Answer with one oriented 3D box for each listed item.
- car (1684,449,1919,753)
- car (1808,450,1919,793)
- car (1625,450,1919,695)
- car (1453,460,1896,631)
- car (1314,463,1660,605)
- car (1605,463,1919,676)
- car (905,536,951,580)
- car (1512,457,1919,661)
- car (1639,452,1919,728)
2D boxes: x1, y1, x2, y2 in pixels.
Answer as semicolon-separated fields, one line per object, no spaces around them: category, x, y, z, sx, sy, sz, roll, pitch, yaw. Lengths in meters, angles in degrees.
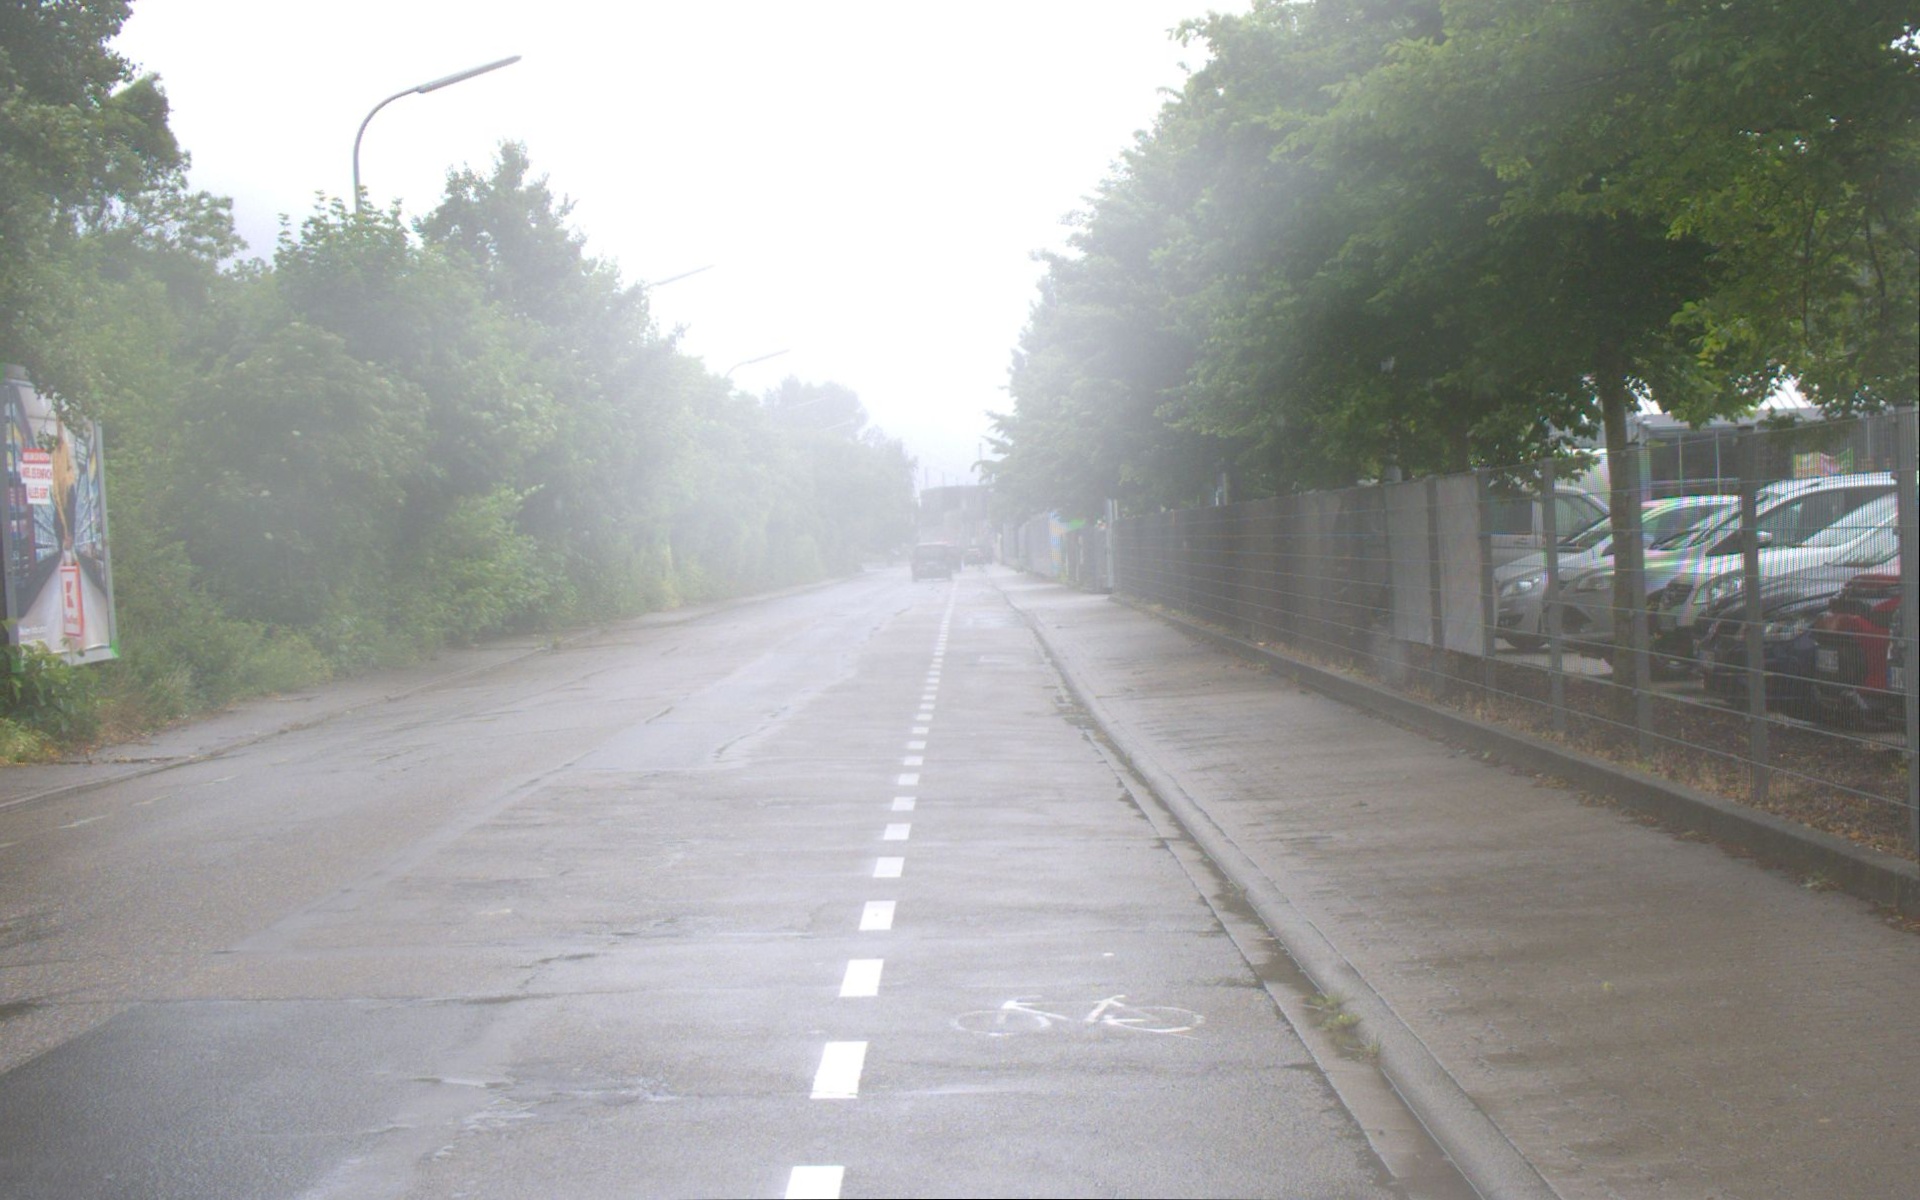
car;6.511;-0.090;19.699;4.207;1.613;1.824;-3;1;-7
car;6.540;0.003;16.827;4.207;1.613;1.824;-3;1;-7
car;7.118;-0.268;24.630;4.207;1.613;1.824;-3;1;-7
car;7.501;-0.585;36.354;4.208;1.583;1.824;-2;1;-2
car;6.967;-0.886;45.673;4.208;1.671;1.824;-2;1;-2
car;7.436;-0.303;27.102;4.207;1.528;1.824;-3;1;-7
car;-1.458;-1.902;156.654;1.993;1.904;4.201;-3;0;-1
car;7.106;-0.392;29.760;4.207;1.583;1.824;-3;1;-7
car;6.671;-0.148;21.839;4.207;1.613;1.824;-3;1;-7
